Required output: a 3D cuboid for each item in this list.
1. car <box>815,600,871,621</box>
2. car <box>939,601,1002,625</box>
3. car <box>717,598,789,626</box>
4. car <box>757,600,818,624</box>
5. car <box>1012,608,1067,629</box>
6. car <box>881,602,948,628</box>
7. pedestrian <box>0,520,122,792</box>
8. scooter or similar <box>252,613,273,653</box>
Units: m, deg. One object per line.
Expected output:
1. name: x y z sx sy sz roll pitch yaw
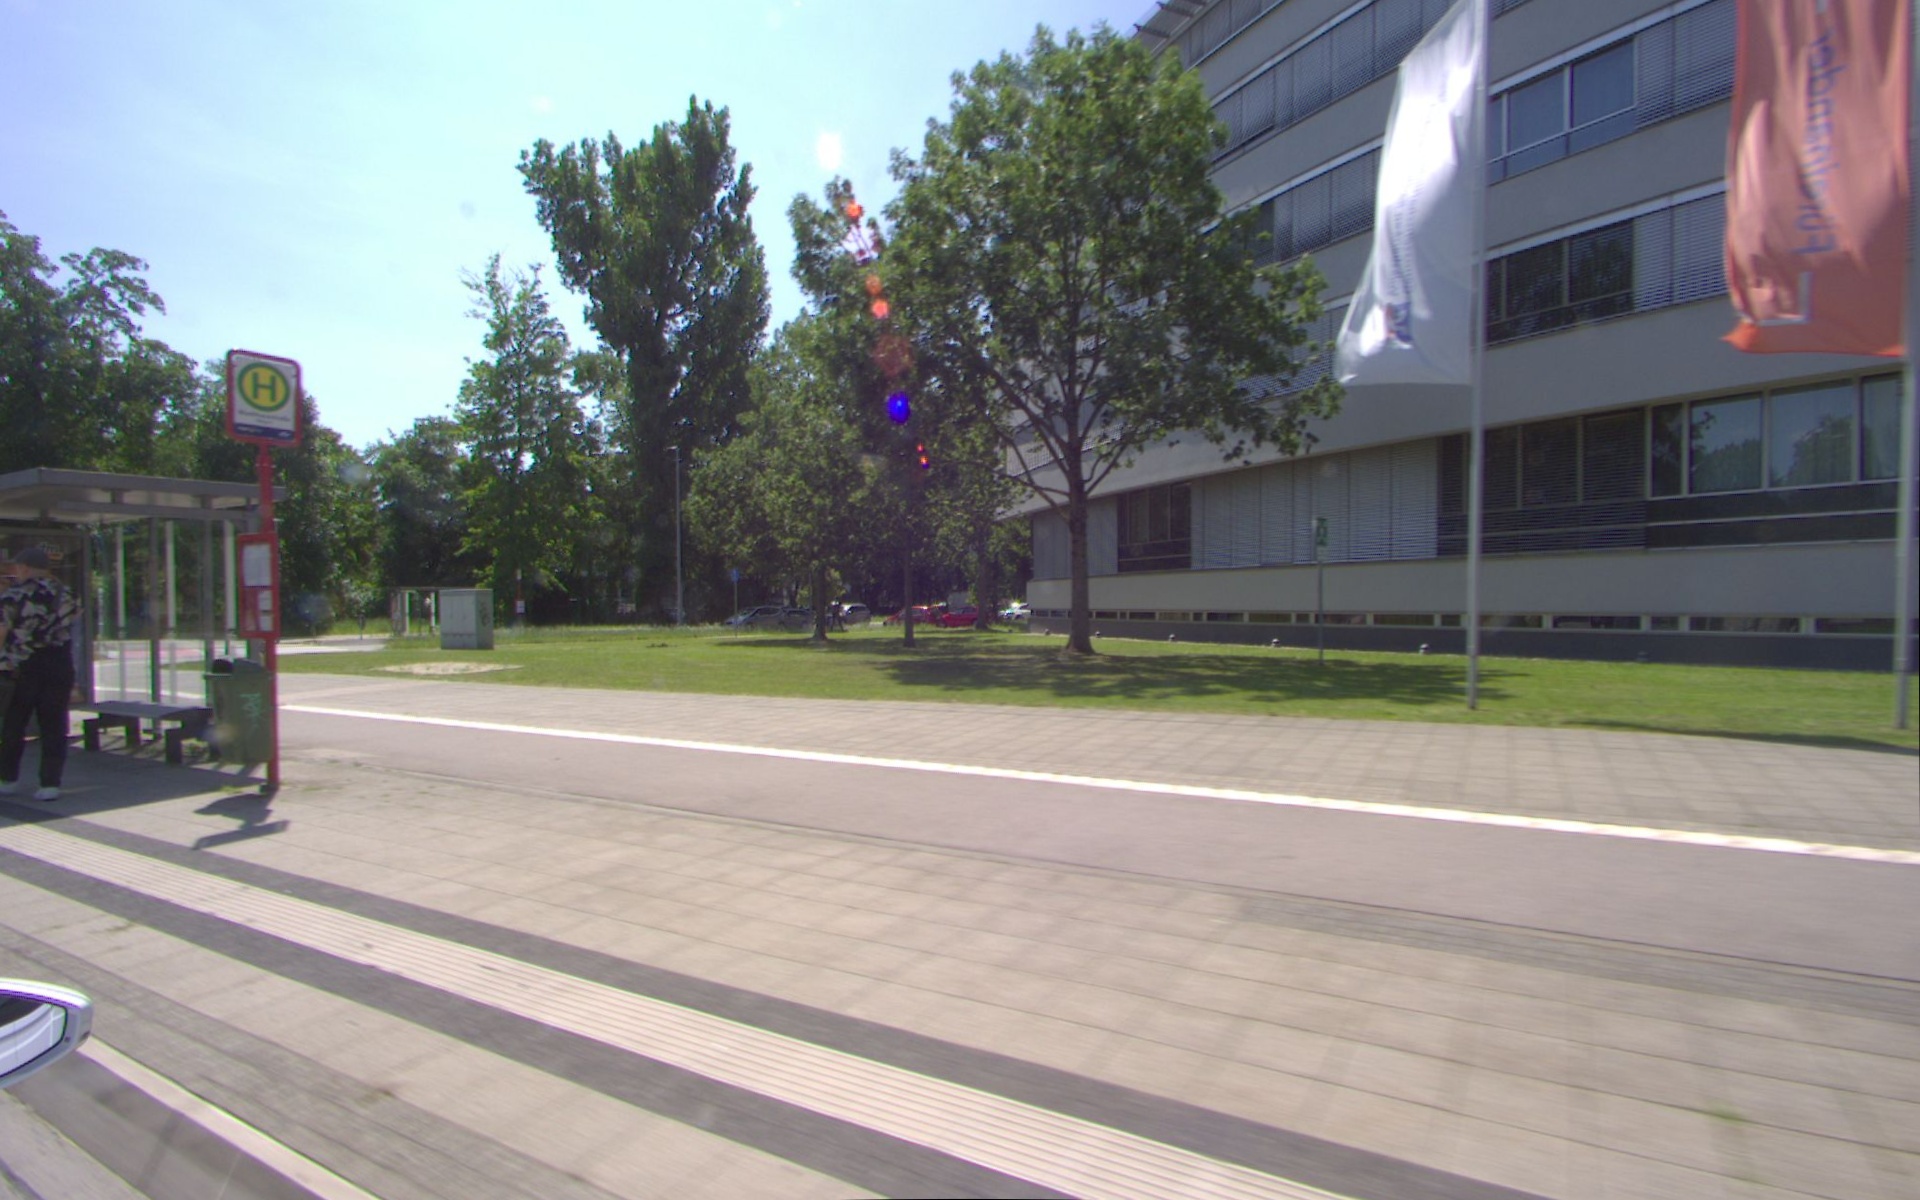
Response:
1. car: -8.289 0.752 71.009 1.860 1.434 3.767 -1 -1 38
2. car: 0.667 0.866 64.420 3.631 1.502 1.860 -1 -1 31
3. car: -12.495 0.730 60.540 1.768 1.627 4.098 -1 -1 38
4. car: -11.465 0.810 66.762 1.680 1.506 3.976 3 1 35
5. car: 5.783 1.340 72.863 3.631 1.502 1.860 -1 -1 31
6. car: -2.775 0.911 60.696 3.631 1.502 1.860 -1 -1 31
7. pedestrian: -6.746 0.377 7.272 0.814 1.847 0.706 0 3 31
8. scooter or similar: -21.771 1.015 31.255 0.442 1.217 1.391 0 -1 -32
